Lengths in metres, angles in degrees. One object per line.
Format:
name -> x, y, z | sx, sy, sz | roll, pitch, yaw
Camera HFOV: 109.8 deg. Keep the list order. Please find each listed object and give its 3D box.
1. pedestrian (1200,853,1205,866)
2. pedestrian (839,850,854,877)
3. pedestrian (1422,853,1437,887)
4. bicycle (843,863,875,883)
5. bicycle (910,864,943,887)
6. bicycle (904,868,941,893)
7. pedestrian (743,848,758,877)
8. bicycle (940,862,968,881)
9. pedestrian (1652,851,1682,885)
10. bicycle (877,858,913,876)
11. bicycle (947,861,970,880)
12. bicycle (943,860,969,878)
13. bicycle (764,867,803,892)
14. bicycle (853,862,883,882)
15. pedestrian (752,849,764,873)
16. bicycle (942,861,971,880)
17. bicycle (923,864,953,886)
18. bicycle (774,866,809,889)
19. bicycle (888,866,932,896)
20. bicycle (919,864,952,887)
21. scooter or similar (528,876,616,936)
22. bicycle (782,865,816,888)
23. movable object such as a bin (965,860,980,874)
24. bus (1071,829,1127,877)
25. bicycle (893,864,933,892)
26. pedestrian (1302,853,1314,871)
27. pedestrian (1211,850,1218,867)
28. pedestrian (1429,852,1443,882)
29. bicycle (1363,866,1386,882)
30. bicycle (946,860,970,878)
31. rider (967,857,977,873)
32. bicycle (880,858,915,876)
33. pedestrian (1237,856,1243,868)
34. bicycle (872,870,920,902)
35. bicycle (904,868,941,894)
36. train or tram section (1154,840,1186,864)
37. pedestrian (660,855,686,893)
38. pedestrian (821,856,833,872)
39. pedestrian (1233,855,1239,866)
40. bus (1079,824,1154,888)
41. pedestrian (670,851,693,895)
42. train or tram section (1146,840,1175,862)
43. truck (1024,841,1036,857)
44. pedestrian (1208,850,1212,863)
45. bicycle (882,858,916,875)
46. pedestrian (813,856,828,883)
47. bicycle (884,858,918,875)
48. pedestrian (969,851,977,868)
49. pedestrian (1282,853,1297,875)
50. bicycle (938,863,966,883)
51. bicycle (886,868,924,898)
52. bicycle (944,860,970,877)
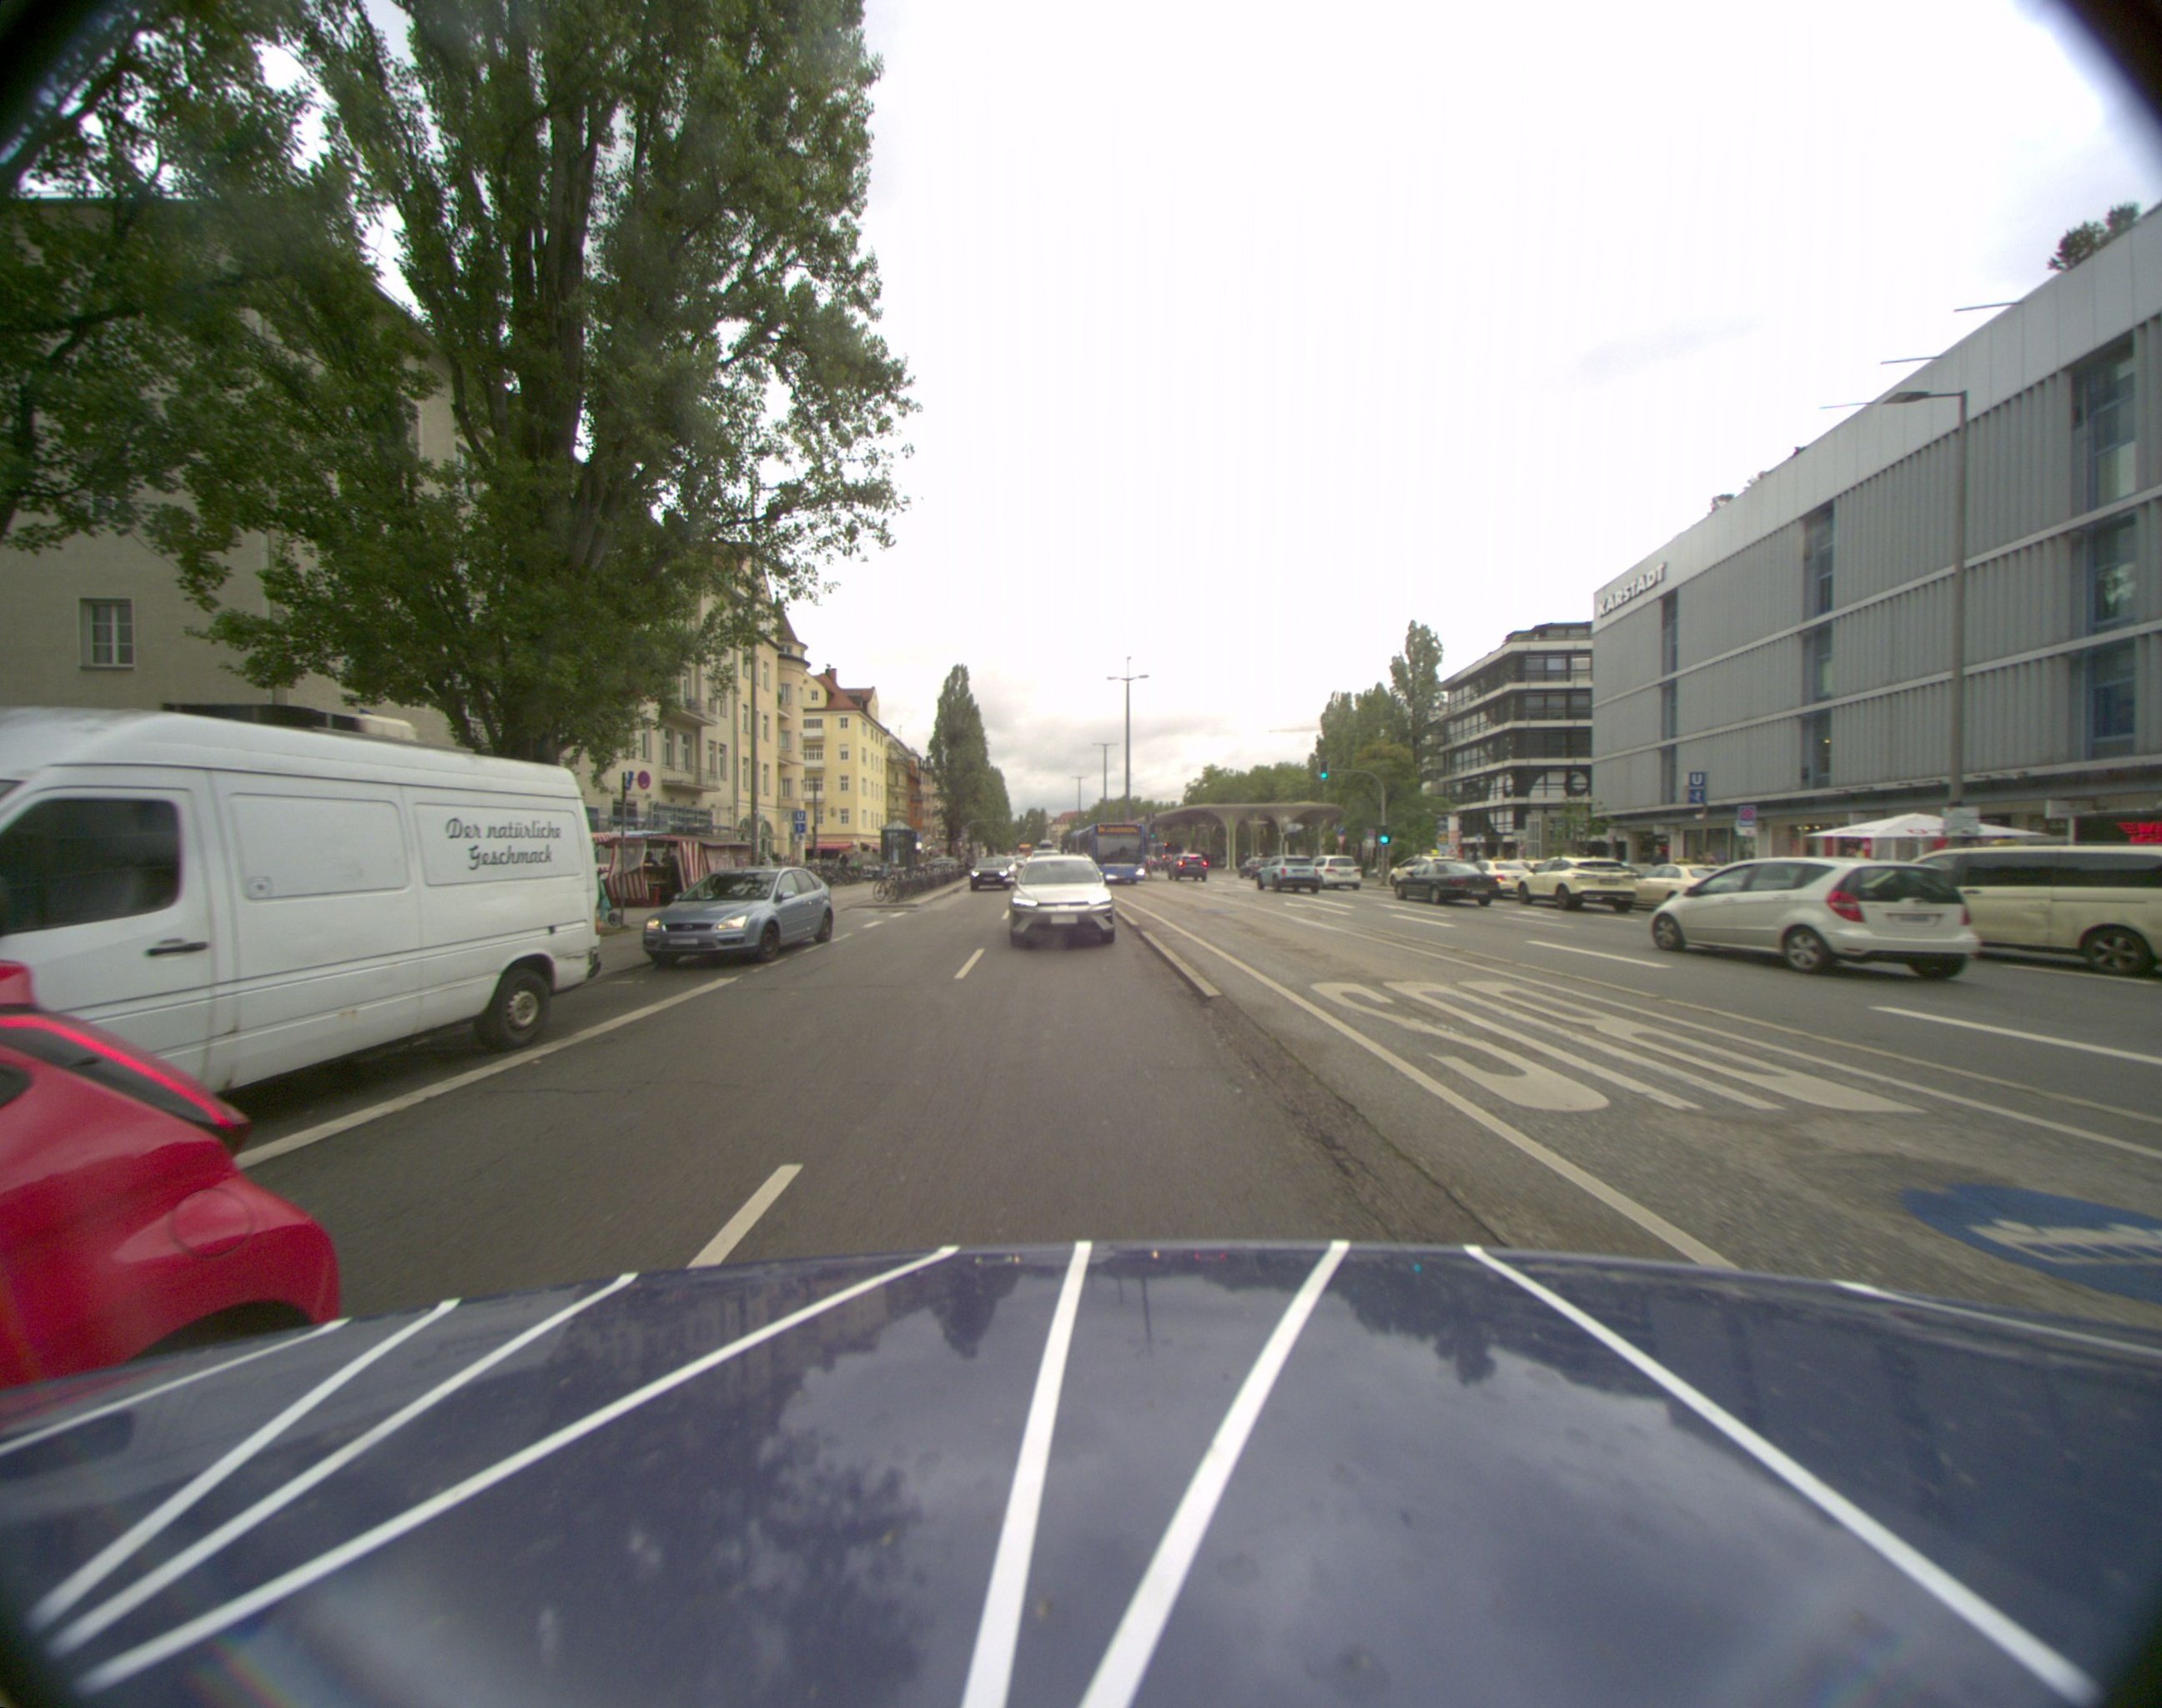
pedestrian -> 14.069, 0.676, 88.003 | 0.426, 1.493, 0.490 | 1, 1, 23
pedestrian -> -15.163, 0.600, 49.113 | 0.741, 1.698, 0.703 | 0, 1, -44
pedestrian -> 17.722, 0.794, 38.648 | 0.525, 1.719, 0.428 | -2, 1, -4
bicycle -> -12.338, 1.042, 42.325 | 1.655, 1.071, 0.410 | 1, 1, -5
bicycle -> -7.399, 1.027, 36.314 | 1.797, 1.004, 0.387 | -4, -1, 35
bicycle -> -6.934, 1.153, 33.190 | 1.797, 1.004, 0.387 | -4, -1, 35
pedestrian -> -20.199, 0.509, 46.378 | 0.618, 1.728, 0.644 | 2, 0, -4
bicycle -> -7.550, 1.048, 45.252 | 1.790, 1.131, 0.490 | -1, 1, 35
pedestrian -> 26.711, 0.645, 34.667 | 0.732, 1.537, 0.900 | 0, 1, 10
bicycle -> -12.964, 0.916, 52.930 | 2.318, 1.220, 0.628 | 0, 1, -1
bicycle -> -7.625, 1.020, 47.196 | 1.521, 1.131, 0.349 | -1, 1, 33
bicycle -> -8.147, 0.998, 49.437 | 1.674, 1.131, 0.479 | -1, 1, 27
bicycle -> -13.253, 1.135, 33.846 | 1.632, 1.097, 0.410 | 1, 1, 6
bicycle -> -12.149, 1.022, 43.430 | 0.409, 1.071, 1.766 | 2, 1, 37
pedestrian -> -21.066, 0.455, 49.538 | 0.567, 1.533, 0.589 | 0, 2, -13
bicycle -> -7.619, 1.030, 46.557 | 1.791, 1.131, 0.591 | -1, 1, 33
bicycle -> -7.202, 1.069, 38.222 | 1.848, 1.053, 0.398 | -4, -1, 42
bicycle -> -13.527, 1.095, 35.525 | 1.453, 1.071, 0.410 | 1, 1, -12
bicycle -> -6.729, 1.061, 29.893 | 1.797, 1.098, 0.548 | -4, -1, 35
bicycle -> -7.201, 1.079, 37.564 | 1.797, 1.053, 0.398 | -4, -1, 35
scooter or similar -> -10.554, 1.069, 15.801 | 1.471, 1.200, 0.400 | 0, 1, -21
bicycle -> -13.412, 1.082, 36.163 | 1.453, 1.071, 0.410 | 1, 1, -12
movable object such as a bin -> -8.518, 1.033, 59.580 | 1.090, 1.056, 0.747 | 2, 1, -6
bus -> 1.061, -0.132, 52.381 | 2.942, 2.927, 11.208 | -1, 1, -3
bicycle -> -7.147, 1.035, 32.233 | 1.797, 1.098, 0.548 | -4, -1, 35
pedestrian -> 22.614, 0.765, 75.551 | 0.861, 1.767, 0.980 | 0, 1, -2
pedestrian -> 14.732, 0.482, 83.878 | 0.666, 1.840, 0.789 | 0, 1, 17
pedestrian -> 21.592, 0.776, 46.205 | 0.562, 1.768, 0.510 | -2, 1, 0
bicycle -> 19.206, 1.293, 49.719 | 1.298, 1.010, 0.419 | 0, 1, -5
bicycle -> -8.129, 0.984, 50.289 | 1.673, 1.131, 0.479 | -1, 1, 36
rider -> -8.553, 0.853, 59.585 | 0.732, 1.234, 0.732 | 2, 1, -6
bicycle -> -12.942, 0.905, 53.565 | 2.318, 1.220, 0.628 | 0, 1, -1
pedestrian -> 18.169, 0.895, 86.647 | 0.549, 1.330, 0.592 | 0, 1, -4
bicycle -> -6.630, 1.142, 27.149 | 1.797, 1.048, 0.548 | -4, -1, 35
bicycle -> -6.813, 1.159, 32.605 | 1.797, 1.004, 0.387 | -4, -1, 35
train or tram section -> 11.300, -0.288, 96.811 | 2.841, 2.983, 7.404 | 0, 0, -3
pedestrian -> -16.451, 0.785, 30.640 | 0.678, 1.519, 0.729 | 0, 1, -1
pedestrian -> -20.457, 0.820, 61.178 | 0.701, 1.238, 0.918 | 0, 2, -4
pedestrian -> 17.607, 0.740, 86.442 | 0.549, 1.330, 0.592 | 0, 1, -4
bus -> 1.651, 0.017, 41.217 | 2.942, 2.927, 11.208 | -1, 1, -3
pedestrian -> -16.486, 0.774, 31.353 | 0.718, 1.818, 0.728 | 0, 1, -17
train or tram section -> 10.874, -0.388, 104.229 | 2.841, 2.983, 7.404 | 0, 0, -3
truck -> -11.584, -1.196, 171.674 | 2.541, 3.468, 7.748 | 1, 0, -3
pedestrian -> 14.874, 0.336, 87.682 | 0.335, 1.493, 0.317 | 0, 1, -12
bicycle -> -12.974, 0.896, 54.227 | 2.318, 1.220, 0.628 | 0, 1, -1
pedestrian -> -15.020, 0.875, 43.829 | 0.661, 1.573, 0.537 | 0, 1, -1
bicycle -> -12.994, 0.885, 54.945 | 2.318, 1.220, 0.628 | 0, 1, -1
pedestrian -> -11.916, 0.582, 83.799 | 0.732, 1.792, 0.710 | 0, 2, -12
pedestrian -> 15.154, 0.714, 55.199 | 0.640, 1.542, 0.759 | -2, 2, -28
bicycle -> -7.324, 1.076, 43.063 | 1.790, 1.131, 0.490 | -1, 1, 41
bicycle -> -6.762, 1.114, 29.142 | 1.797, 1.048, 0.368 | -4, -1, 41
bicycle -> -8.334, 0.978, 51.041 | 1.780, 1.131, 0.479 | -1, 1, 31
